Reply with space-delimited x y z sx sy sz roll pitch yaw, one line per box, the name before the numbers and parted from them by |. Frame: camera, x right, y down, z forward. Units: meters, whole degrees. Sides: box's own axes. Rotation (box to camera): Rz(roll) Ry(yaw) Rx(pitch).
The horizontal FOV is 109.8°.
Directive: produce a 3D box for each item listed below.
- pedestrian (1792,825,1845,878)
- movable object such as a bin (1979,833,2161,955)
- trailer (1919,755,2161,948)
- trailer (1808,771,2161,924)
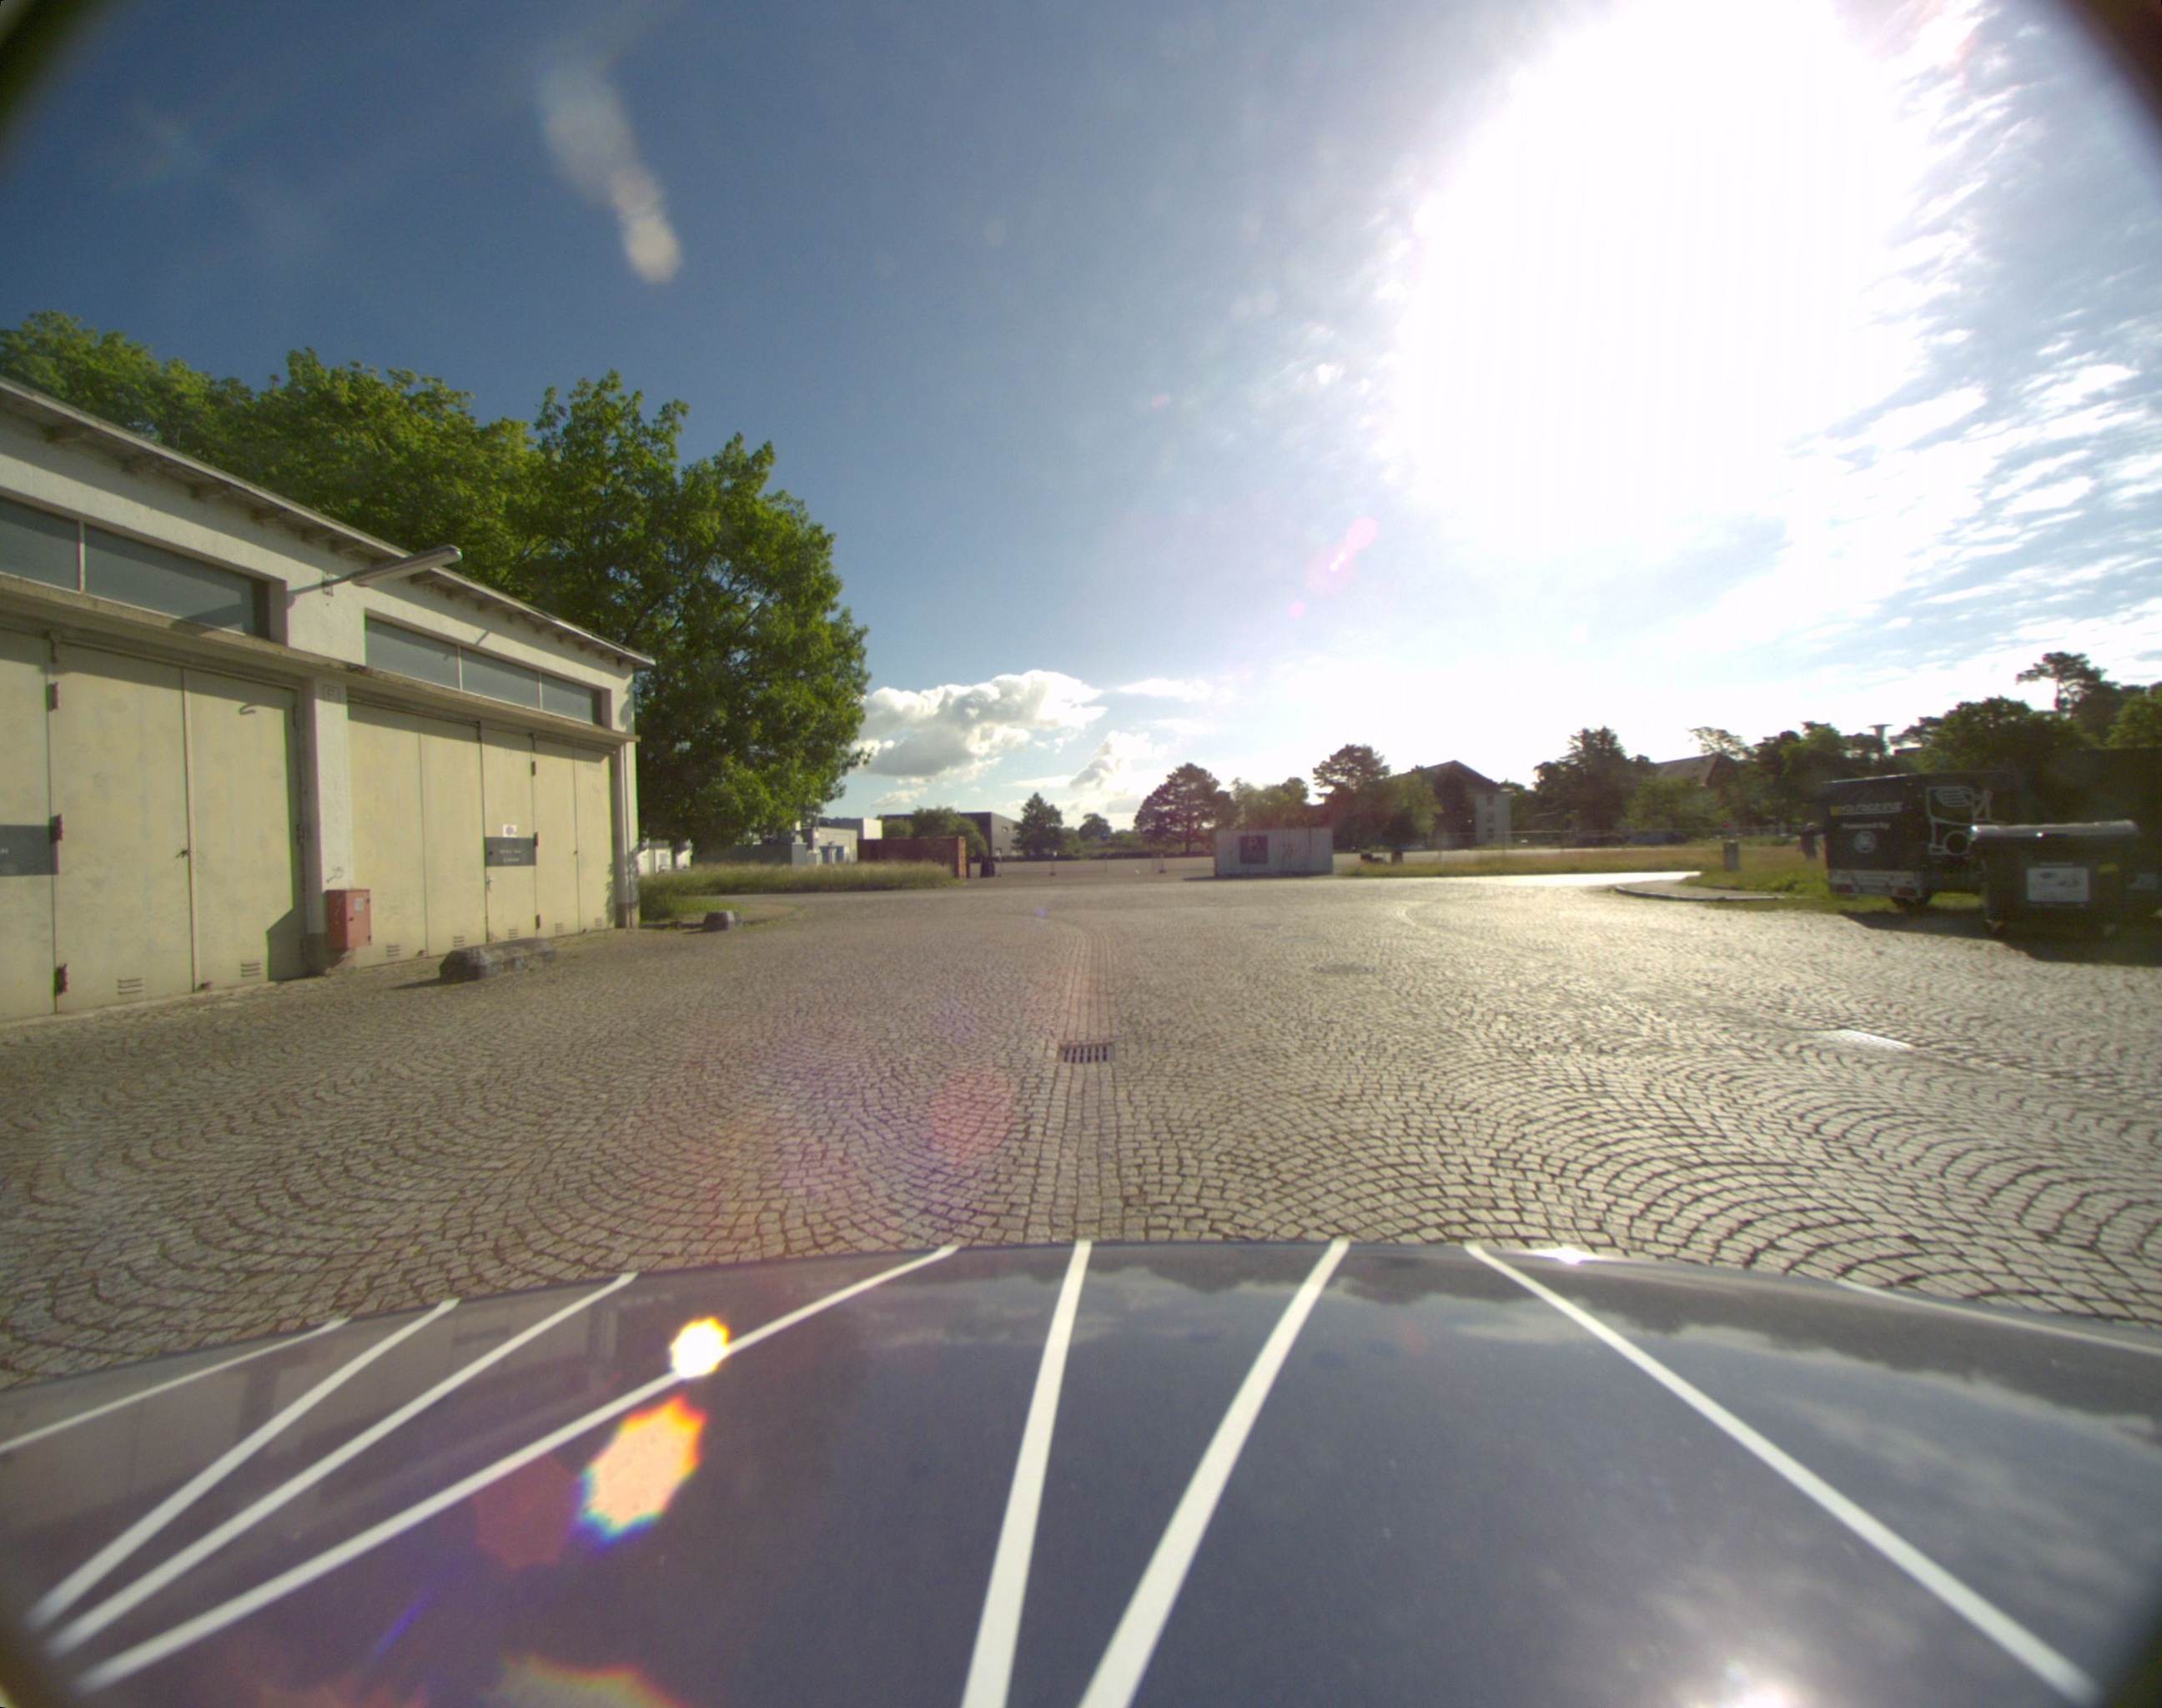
pedestrian | 27.018 -0.091 27.848 1.141 1.903 0.800 -1 1 2
movable object such as a bin | 12.196 0.454 9.417 1.049 1.378 1.360 -2 1 -41
trailer | 15.049 -0.126 10.591 4.853 2.377 1.942 -2 1 -4
trailer | 15.628 -0.126 12.956 4.464 2.260 2.014 -2 1 1
